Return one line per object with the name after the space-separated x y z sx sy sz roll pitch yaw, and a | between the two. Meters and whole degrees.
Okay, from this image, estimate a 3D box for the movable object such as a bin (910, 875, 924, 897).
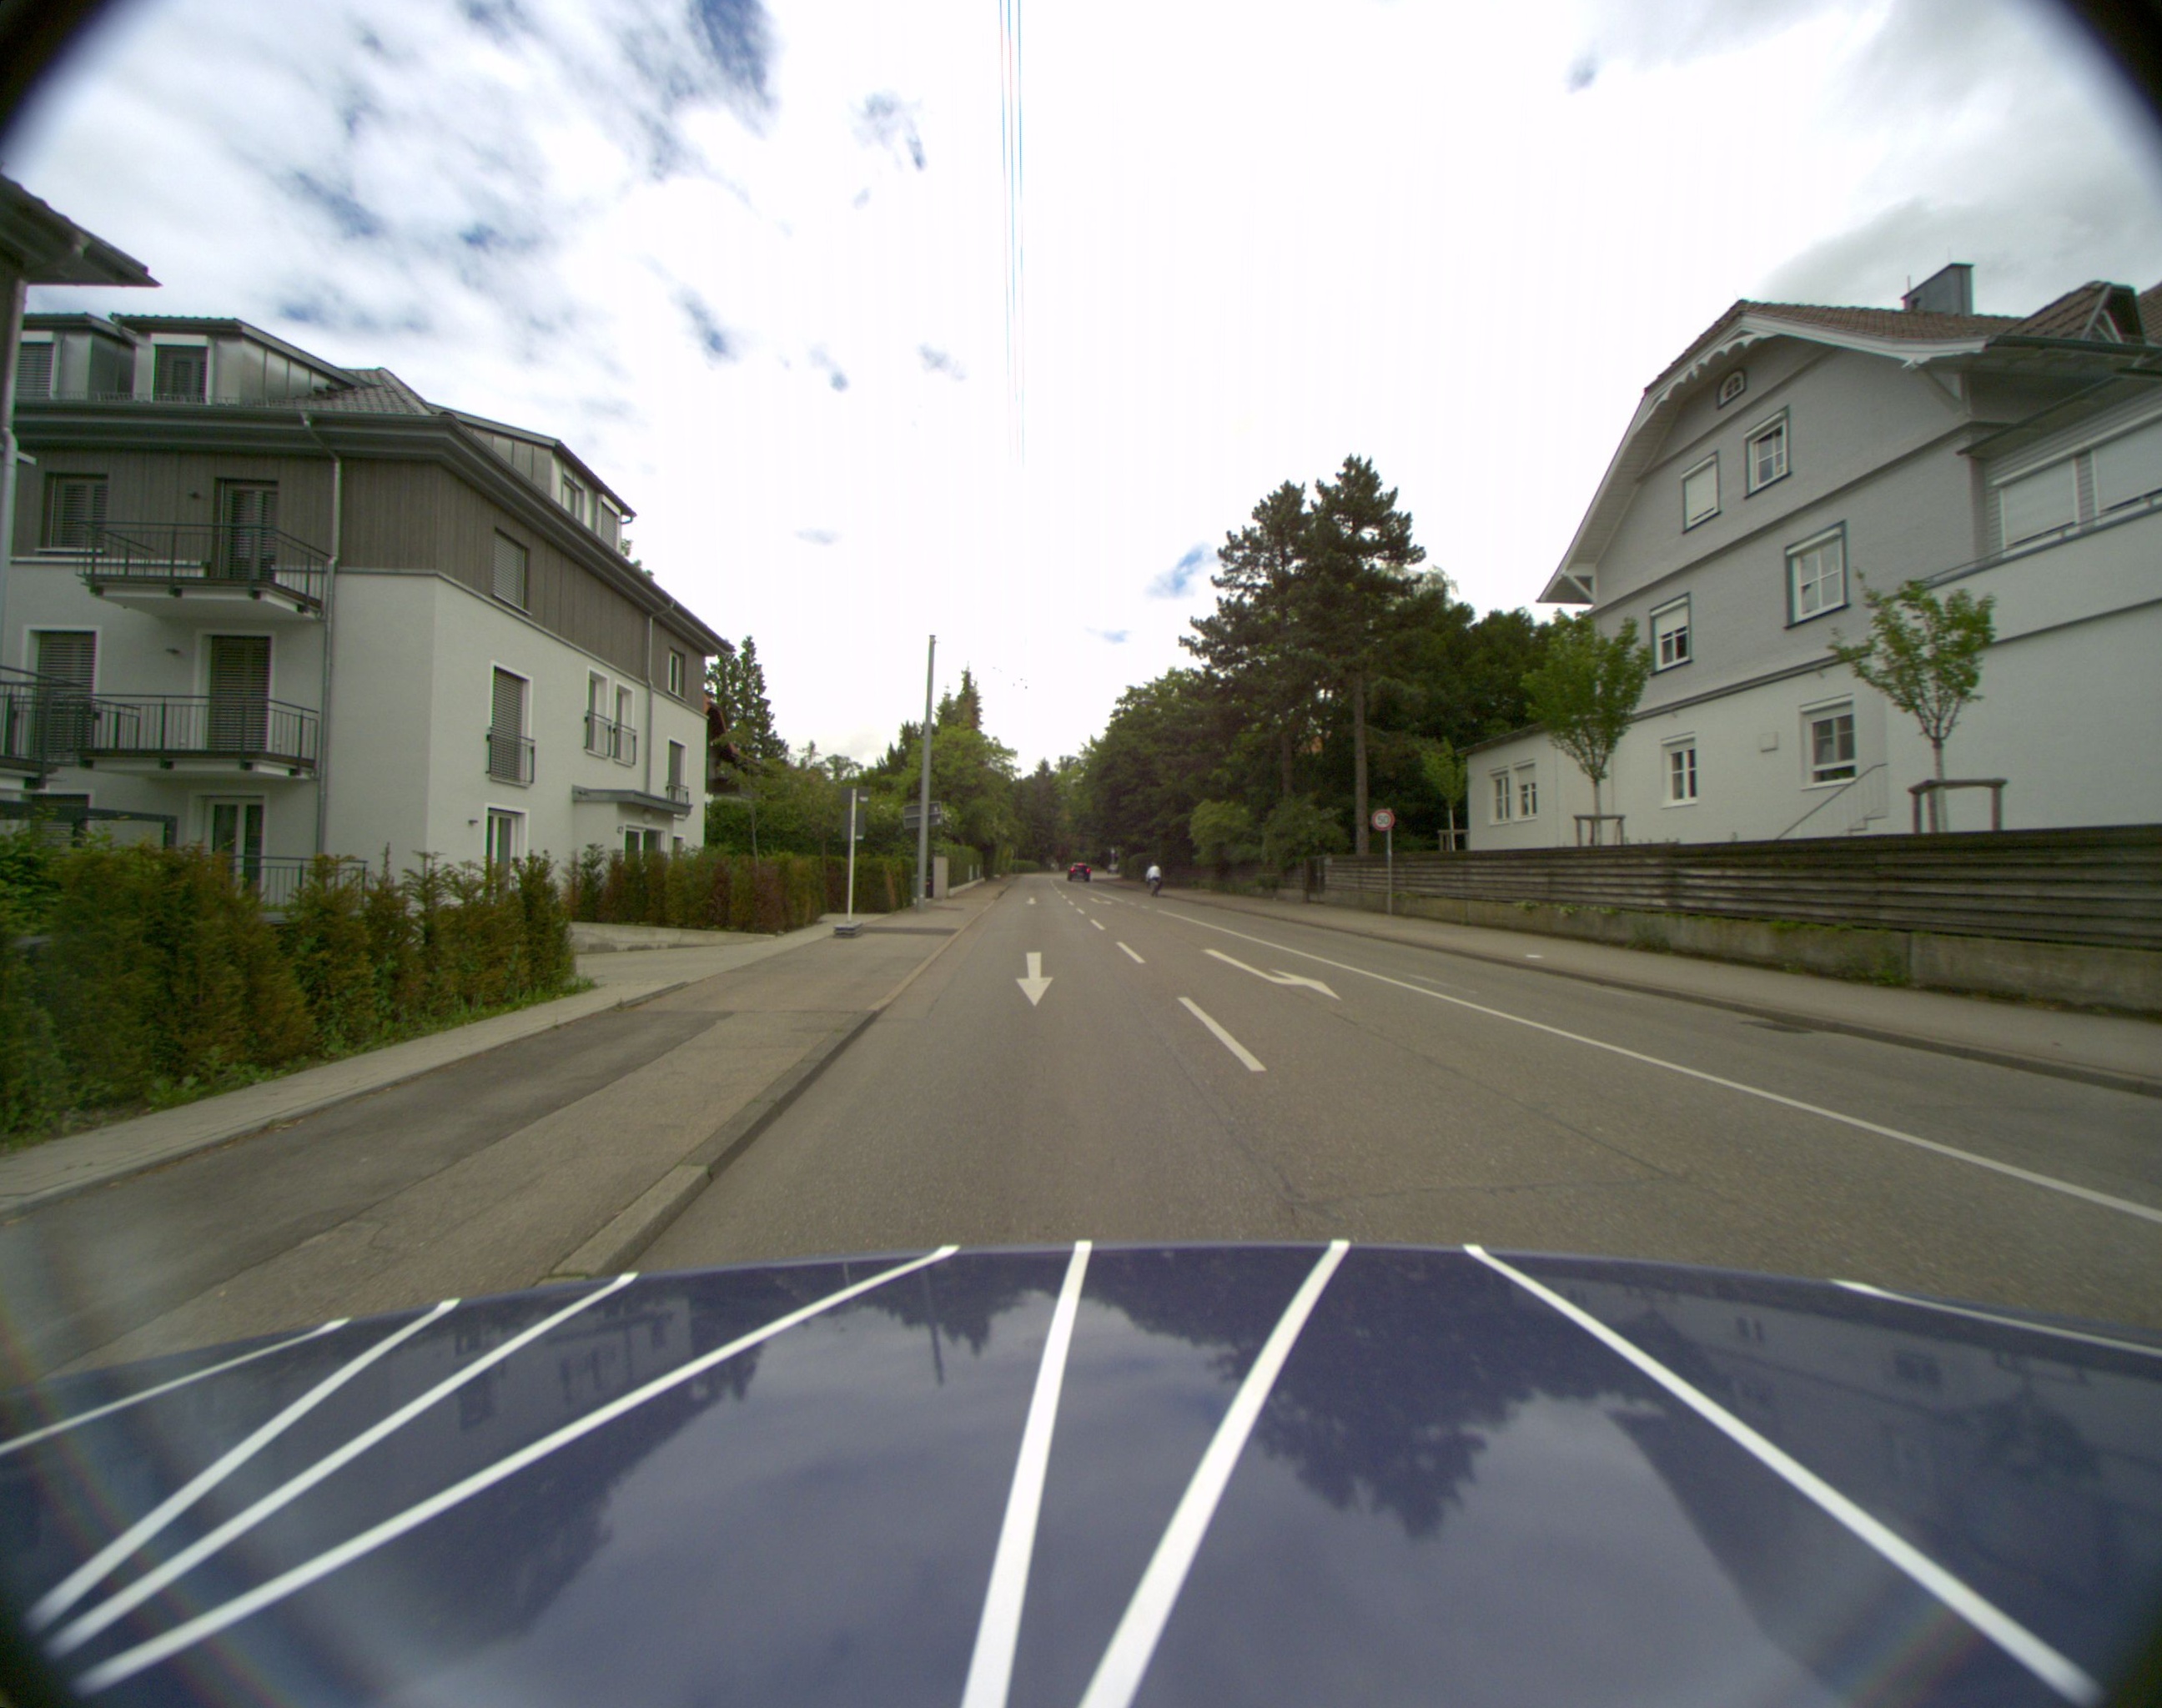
-6.974 1.366 32.331 0.467 0.932 0.603 1 -1 -21 | movable object such as a bin

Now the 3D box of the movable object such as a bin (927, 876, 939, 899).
-6.269 1.411 32.204 0.467 0.932 0.604 1 -1 -14 | movable object such as a bin

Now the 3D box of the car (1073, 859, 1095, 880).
0.265 1.411 69.414 1.836 1.621 4.281 5 1 0 | car

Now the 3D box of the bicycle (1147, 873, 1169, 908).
3.991 1.898 39.546 0.761 1.734 1.871 2 -1 -4 | bicycle

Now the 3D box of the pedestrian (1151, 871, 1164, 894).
5.771 2.139 57.315 0.631 1.652 0.918 1 0 -17 | pedestrian
